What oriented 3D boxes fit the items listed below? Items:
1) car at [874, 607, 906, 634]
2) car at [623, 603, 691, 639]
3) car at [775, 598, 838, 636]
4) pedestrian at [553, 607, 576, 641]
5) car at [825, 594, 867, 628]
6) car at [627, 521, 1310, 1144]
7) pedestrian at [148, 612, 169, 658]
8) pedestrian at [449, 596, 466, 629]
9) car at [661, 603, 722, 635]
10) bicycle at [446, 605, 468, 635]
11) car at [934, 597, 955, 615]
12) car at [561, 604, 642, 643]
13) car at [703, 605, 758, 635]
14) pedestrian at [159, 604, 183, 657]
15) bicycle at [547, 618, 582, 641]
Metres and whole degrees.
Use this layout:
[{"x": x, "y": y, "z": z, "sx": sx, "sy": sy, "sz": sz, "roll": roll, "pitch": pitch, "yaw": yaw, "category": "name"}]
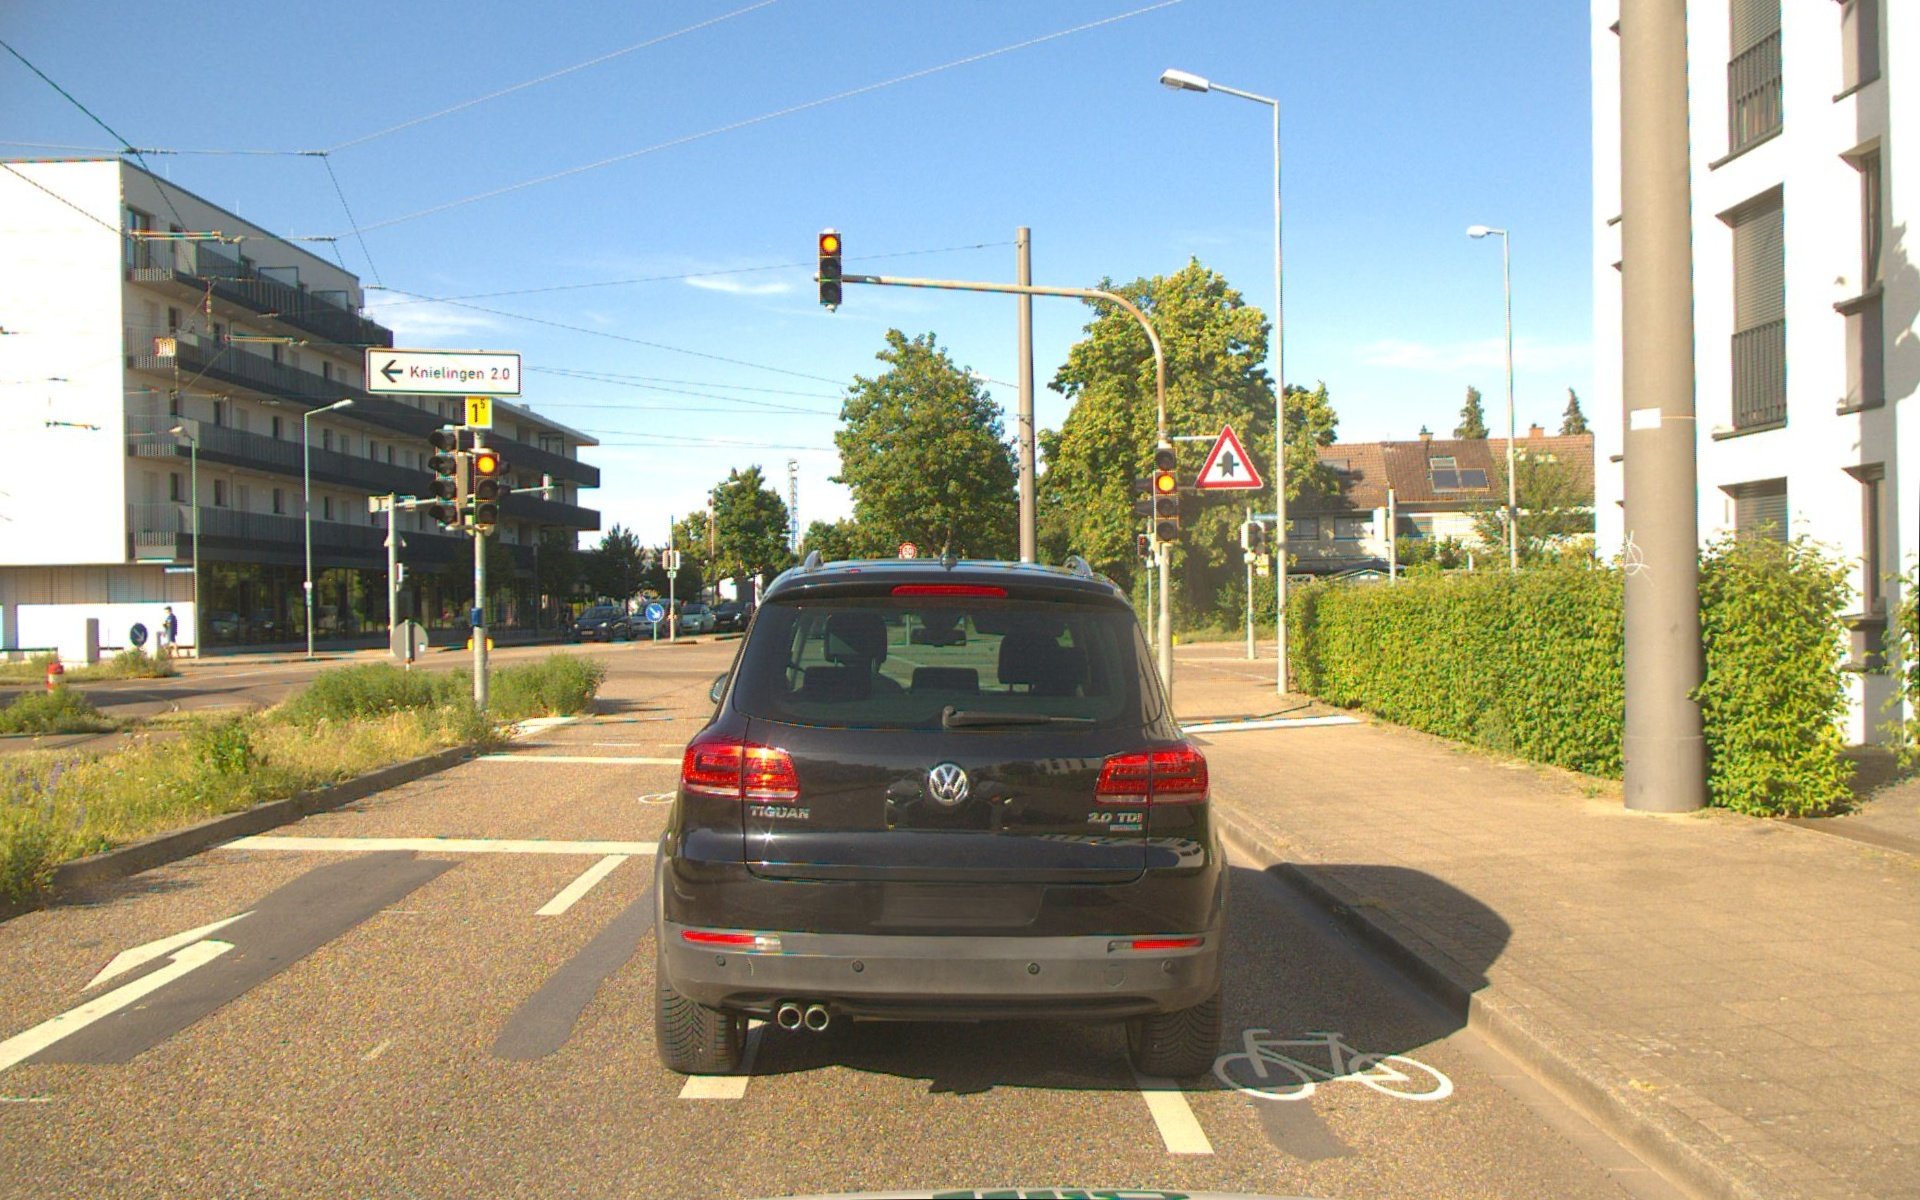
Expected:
[{"x": -4.932, "y": 1.434, "z": 116.792, "sx": 1.952, "sy": 1.869, "sz": 4.000, "roll": 1, "pitch": 0, "yaw": 1, "category": "car"}, {"x": -14.395, "y": 0.990, "z": 78.741, "sx": 1.951, "sy": 1.601, "sz": 4.342, "roll": 1, "pitch": 0, "yaw": 7, "category": "car"}, {"x": -6.485, "y": 0.698, "z": 70.422, "sx": 1.824, "sy": 1.511, "sz": 4.113, "roll": -1, "pitch": 0, "yaw": 7, "category": "car"}, {"x": -17.876, "y": 1.095, "z": 74.830, "sx": 0.696, "sy": 1.499, "sz": 0.954, "roll": 1, "pitch": 0, "yaw": 6, "category": "pedestrian"}, {"x": -6.046, "y": 0.567, "z": 88.157, "sx": 1.825, "sy": 1.750, "sz": 3.688, "roll": -1, "pitch": 0, "yaw": 3, "category": "car"}, {"x": 0.000, "y": 0.642, "z": 6.494, "sx": 1.831, "sy": 1.666, "sz": 3.999, "roll": 1, "pitch": 0, "yaw": -1, "category": "car"}, {"x": -26.610, "y": 1.164, "z": 54.922, "sx": 0.433, "sy": 1.529, "sz": 0.517, "roll": 1, "pitch": -1, "yaw": -6, "category": "pedestrian"}, {"x": -23.404, "y": 0.577, "z": 77.035, "sx": 0.630, "sy": 1.535, "sz": 0.595, "roll": 1, "pitch": -1, "yaw": -7, "category": "pedestrian"}, {"x": -13.755, "y": 0.965, "z": 84.886, "sx": 1.951, "sy": 1.601, "sz": 4.342, "roll": 1, "pitch": 0, "yaw": 7, "category": "car"}, {"x": -23.414, "y": 0.939, "z": 77.047, "sx": 0.618, "sy": 1.355, "sz": 1.910, "roll": 1, "pitch": 0, "yaw": -6, "category": "bicycle"}, {"x": -1.530, "y": 0.592, "z": 165.794, "sx": 1.953, "sy": 1.713, "sz": 3.998, "roll": 1, "pitch": 0, "yaw": -2, "category": "car"}, {"x": -15.369, "y": 0.979, "z": 71.212, "sx": 1.951, "sy": 1.601, "sz": 4.343, "roll": 1, "pitch": 0, "yaw": 9, "category": "car"}, {"x": -12.701, "y": 1.112, "z": 91.763, "sx": 1.951, "sy": 1.601, "sz": 4.342, "roll": 1, "pitch": 0, "yaw": 7, "category": "car"}, {"x": -26.628, "y": 1.017, "z": 55.823, "sx": 0.532, "sy": 1.774, "sz": 0.517, "roll": 1, "pitch": -1, "yaw": -6, "category": "pedestrian"}, {"x": -17.888, "y": 1.333, "z": 74.832, "sx": 0.755, "sy": 1.006, "sz": 2.434, "roll": 1, "pitch": 0, "yaw": 6, "category": "bicycle"}]
